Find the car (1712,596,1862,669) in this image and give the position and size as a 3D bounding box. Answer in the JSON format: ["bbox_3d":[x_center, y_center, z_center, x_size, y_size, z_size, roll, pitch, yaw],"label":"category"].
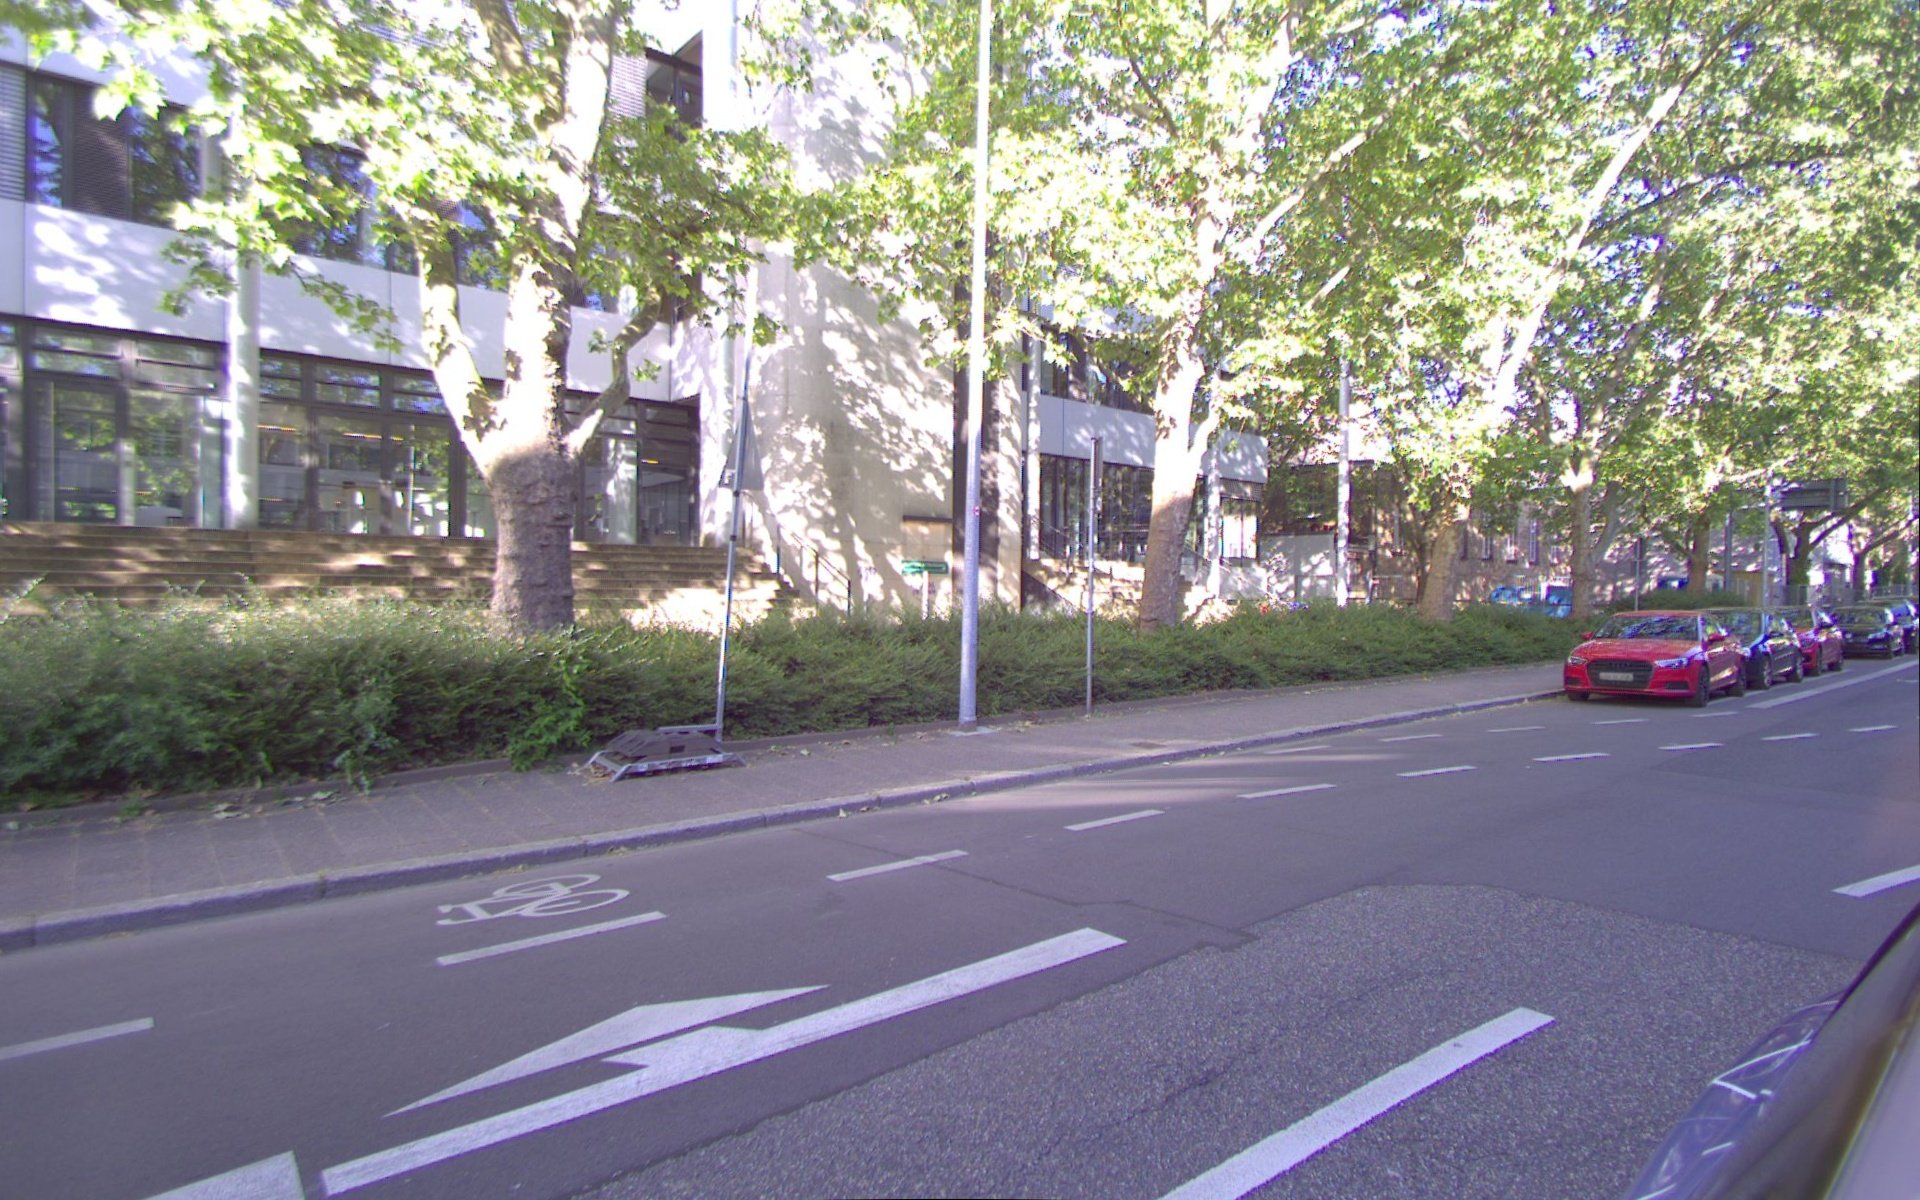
[{"bbox_3d":[18.422,0.642,22.470,4.403,1.469,1.865,0,0,-41],"label":"car"}]

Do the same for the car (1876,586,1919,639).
[{"bbox_3d":[33.895,0.400,35.689,4.403,1.781,1.865,0,0,-41],"label":"car"}]

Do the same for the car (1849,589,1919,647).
[{"bbox_3d":[29.558,0.519,31.798,4.403,1.689,1.865,0,0,-41],"label":"car"}]

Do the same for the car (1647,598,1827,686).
[{"bbox_3d":[14.754,0.697,19.133,4.403,1.469,1.865,0,0,-41],"label":"car"}]

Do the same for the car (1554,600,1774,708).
[{"bbox_3d":[11.306,0.744,16.132,4.403,1.469,1.865,0,0,-41],"label":"car"}]

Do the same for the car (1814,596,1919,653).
[{"bbox_3d":[25.778,0.626,28.604,4.403,1.469,1.865,0,0,-41],"label":"car"}]

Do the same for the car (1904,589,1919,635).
[{"bbox_3d":[38.862,0.449,39.958,4.403,1.781,1.865,0,0,-41],"label":"car"}]
